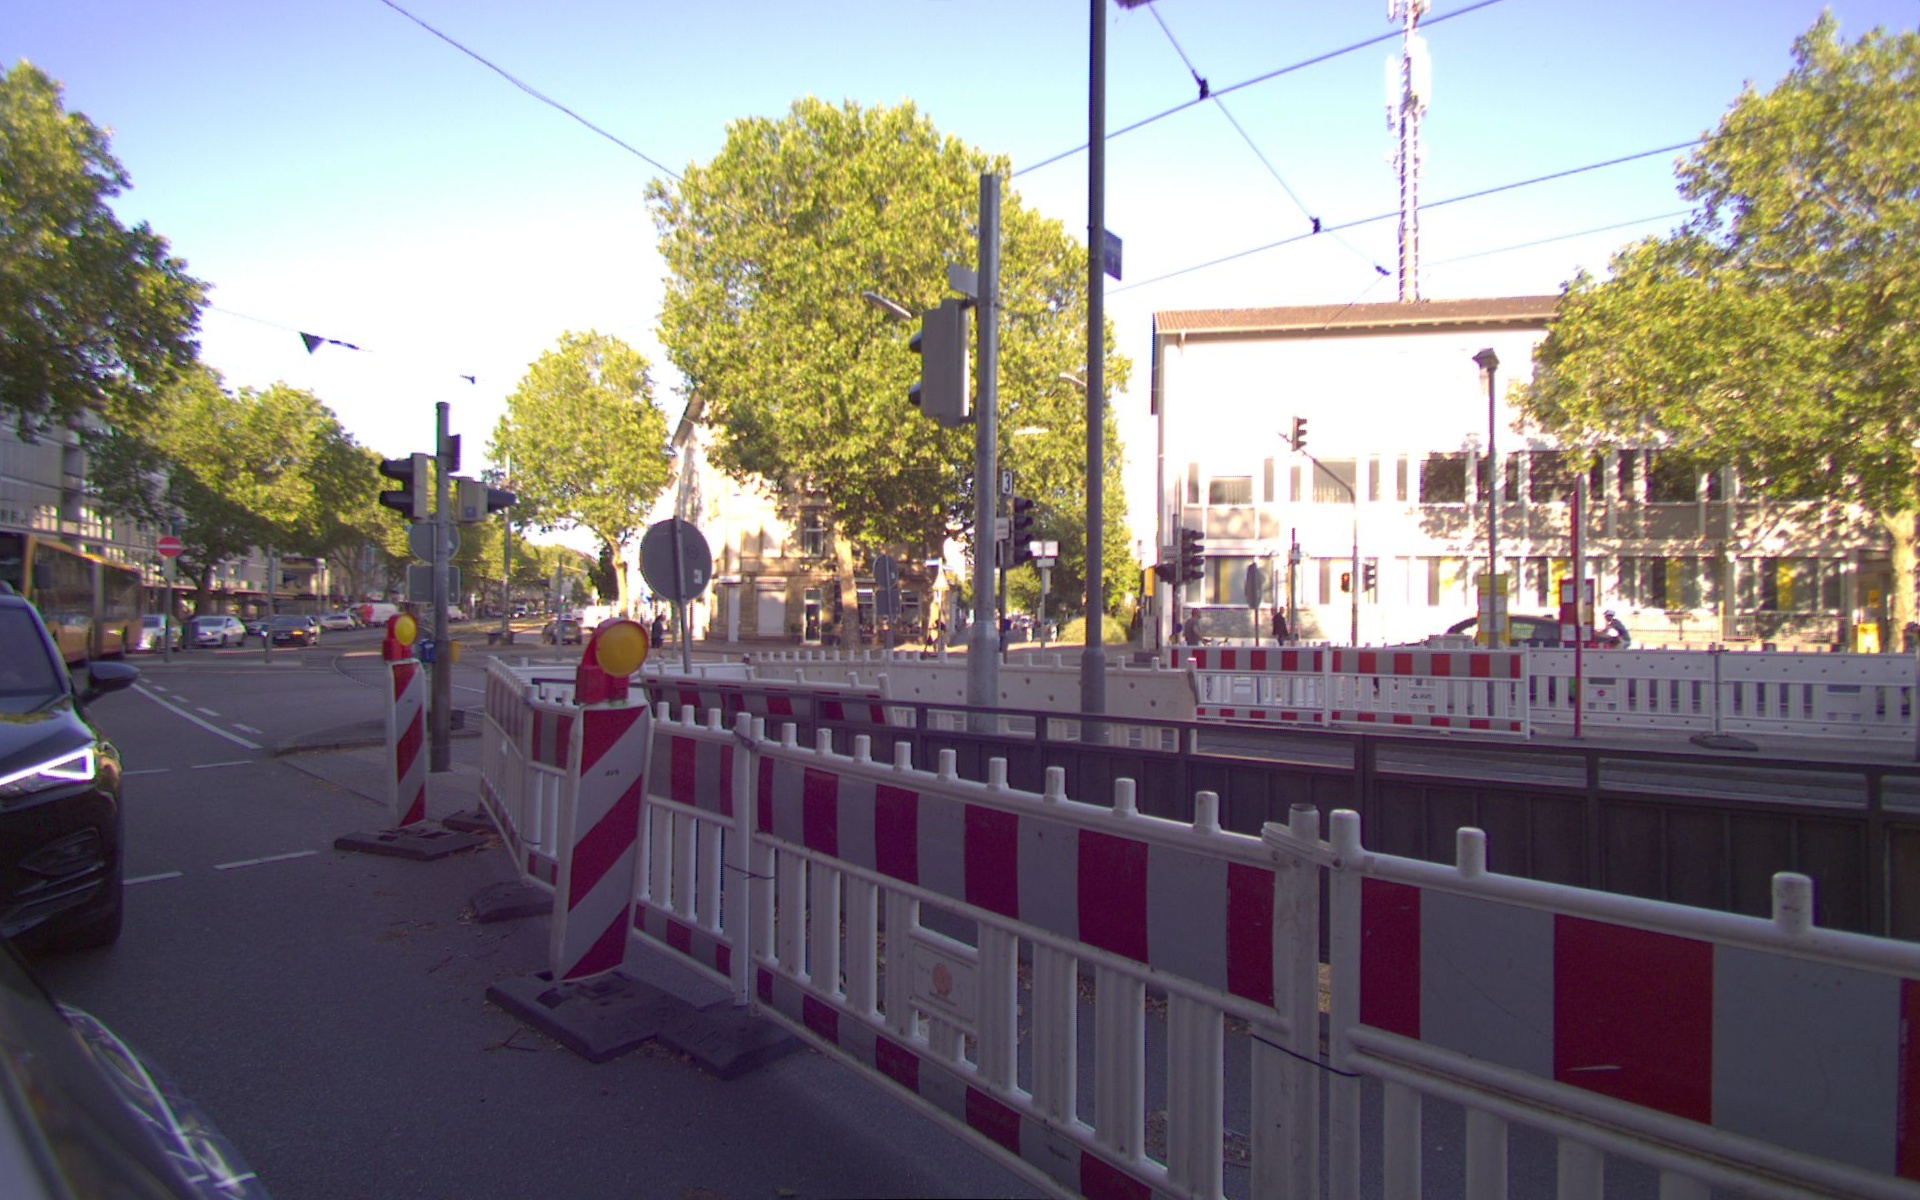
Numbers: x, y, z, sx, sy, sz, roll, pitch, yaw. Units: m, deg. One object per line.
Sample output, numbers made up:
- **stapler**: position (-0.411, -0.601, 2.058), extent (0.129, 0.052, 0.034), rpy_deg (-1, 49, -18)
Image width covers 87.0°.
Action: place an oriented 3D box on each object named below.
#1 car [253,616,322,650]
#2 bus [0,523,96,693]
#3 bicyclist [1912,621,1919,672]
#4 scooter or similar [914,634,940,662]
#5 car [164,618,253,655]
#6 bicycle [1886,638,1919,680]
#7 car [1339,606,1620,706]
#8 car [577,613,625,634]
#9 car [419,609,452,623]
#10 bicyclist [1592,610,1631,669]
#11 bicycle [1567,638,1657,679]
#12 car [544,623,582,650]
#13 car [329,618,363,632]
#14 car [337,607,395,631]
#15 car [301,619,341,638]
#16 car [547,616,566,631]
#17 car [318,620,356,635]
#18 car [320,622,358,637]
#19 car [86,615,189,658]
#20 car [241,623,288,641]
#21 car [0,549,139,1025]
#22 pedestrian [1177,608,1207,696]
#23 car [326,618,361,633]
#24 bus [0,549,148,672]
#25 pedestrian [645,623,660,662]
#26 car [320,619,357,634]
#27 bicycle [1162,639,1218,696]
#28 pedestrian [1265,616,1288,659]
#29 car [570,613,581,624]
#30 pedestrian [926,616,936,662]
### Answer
- **car**: position (-31.797, 1.530, 47.979), extent (1.923, 1.486, 4.772), rpy_deg (1, -1, -24)
- **bus**: position (-21.142, 0.203, 22.049), extent (2.710, 3.127, 9.519), rpy_deg (1, -2, -36)
- **bicyclist**: position (21.695, 1.036, 22.584), extent (0.504, 1.131, 0.454), rpy_deg (0, -2, 24)
- **scooter or similar**: position (-1.270, 1.843, 39.023), extent (0.968, 1.047, 0.308), rpy_deg (0, -1, 0)
- **car**: position (-34.697, 1.641, 46.878), extent (1.923, 1.562, 4.771), rpy_deg (1, -1, -19)
- **bicycle**: position (21.694, 1.317, 22.579), extent (1.423, 0.920, 0.454), rpy_deg (0, -2, 24)
- **car**: position (9.867, 0.992, 19.364), extent (4.576, 1.679, 1.878), rpy_deg (-1, 0, 35)
- **car**: position (-34.282, 2.244, 96.658), extent (1.994, 1.929, 3.954), rpy_deg (-1, -2, 33)
- **car**: position (-77.531, 2.310, 149.596), extent (1.874, 2.029, 3.956), rpy_deg (-1, -2, 32)
- **bicyclist**: position (15.748, 0.951, 24.460), extent (0.724, 1.407, 0.514), rpy_deg (-1, -2, 41)
- **bicycle**: position (15.740, 1.405, 24.453), extent (1.769, 0.927, 0.514), rpy_deg (-1, -2, 41)
- **car**: position (-22.114, 2.029, 56.364), extent (1.853, 1.420, 4.013), rpy_deg (1, -1, -22)
- **car**: position (-59.601, 2.416, 98.229), extent (1.201, 1.355, 2.592), rpy_deg (0, -1, 43)
- **car**: position (-61.661, 1.941, 105.127), extent (1.873, 2.394, 4.817), rpy_deg (0, -1, 30)
- **car**: position (-52.418, 2.347, 83.043), extent (1.201, 1.484, 2.592), rpy_deg (0, -1, 43)
- **car**: position (-51.011, 2.929, 127.952), extent (1.965, 1.881, 4.012), rpy_deg (1, -1, -19)
- **car**: position (-54.979, 2.413, 89.298), extent (1.201, 1.290, 2.592), rpy_deg (0, -1, 43)
- **car**: position (-53.446, 2.509, 87.093), extent (1.201, 1.290, 2.592), rpy_deg (0, -1, 43)
- **car**: position (-30.725, 1.323, 37.938), extent (1.880, 1.486, 4.433), rpy_deg (1, -1, -24)
- **car**: position (-50.963, 2.341, 74.150), extent (1.198, 1.226, 2.599), rpy_deg (0, -1, 34)
- **car**: position (-5.273, 0.687, 4.689), extent (4.301, 1.670, 1.823), rpy_deg (-1, -1, 45)
- **pedestrian**: position (4.579, 1.016, 19.935), extent (0.539, 1.710, 0.515), rpy_deg (0, -1, 18)
- **car**: position (-58.143, 2.384, 95.520), extent (1.201, 1.399, 2.592), rpy_deg (0, -1, 43)
- **bus**: position (-26.443, 0.353, 29.902), extent (2.708, 3.127, 9.523), rpy_deg (1, -2, -32)
- **pedestrian**: position (-10.466, 1.439, 34.441), extent (0.359, 1.318, 0.403), rpy_deg (1, -2, -32)
- **car**: position (-56.600, 2.423, 92.189), extent (1.201, 1.290, 2.592), rpy_deg (0, -1, 43)
- **bicycle**: position (4.629, 1.347, 20.355), extent (1.086, 1.101, 0.243), rpy_deg (0, -1, 19)
- **pedestrian**: position (10.087, 1.190, 32.238), extent (0.626, 1.367, 0.531), rpy_deg (0, -2, 27)
- **car**: position (-68.858, 3.341, 181.259), extent (1.875, 1.918, 4.013), rpy_deg (1, -1, -21)
- **pedestrian**: position (-1.124, 1.500, 39.274), extent (0.414, 1.780, 0.354), rpy_deg (0, -1, -1)
